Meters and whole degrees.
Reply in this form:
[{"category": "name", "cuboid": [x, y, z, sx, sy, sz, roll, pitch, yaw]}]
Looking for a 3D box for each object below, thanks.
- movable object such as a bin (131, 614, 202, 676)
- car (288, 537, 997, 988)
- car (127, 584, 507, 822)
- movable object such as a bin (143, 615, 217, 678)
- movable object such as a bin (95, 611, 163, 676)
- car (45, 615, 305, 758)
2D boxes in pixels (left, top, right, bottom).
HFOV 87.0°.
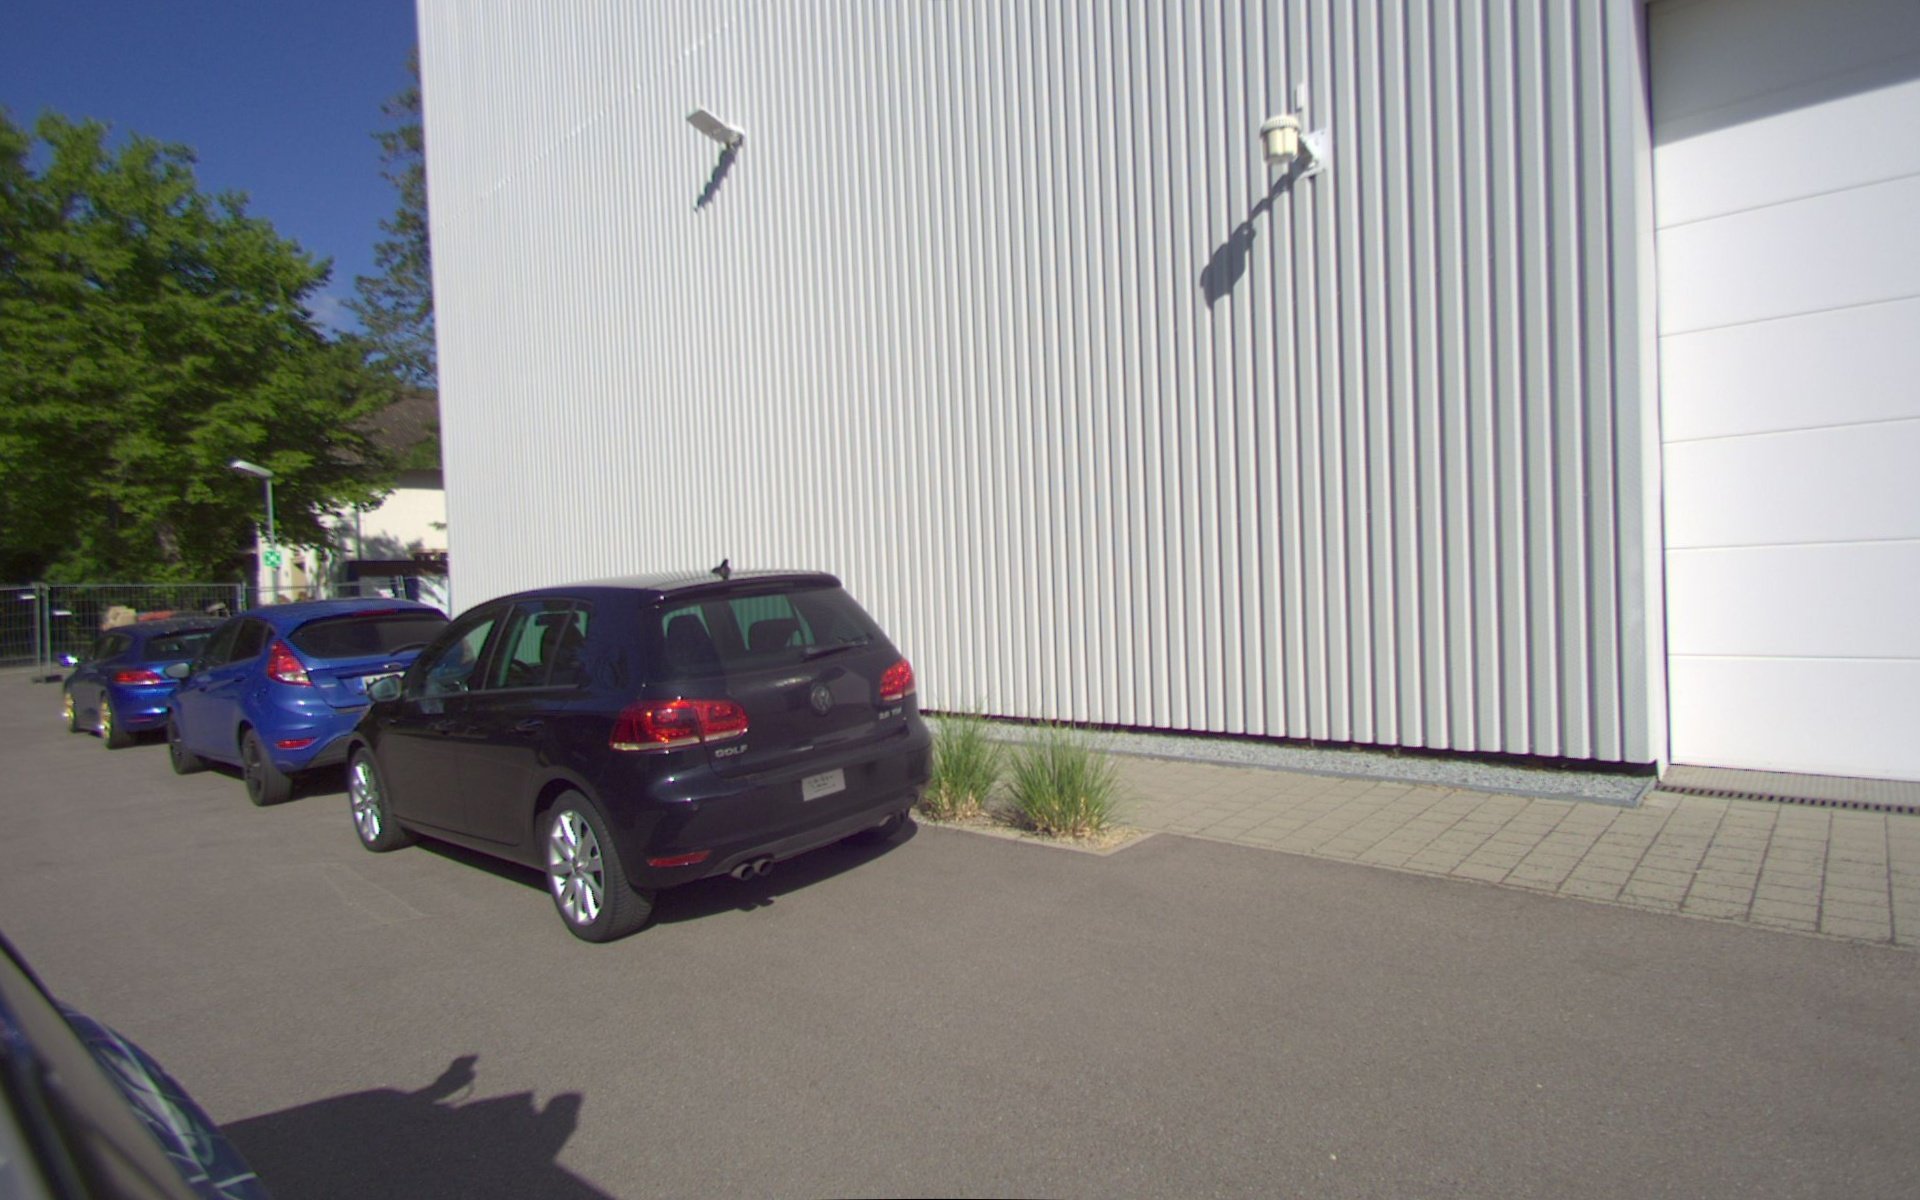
[{"category": "movable object such as a bin", "cuboid": [-20.321, 1.127, 25.916, 1.228, 1.450, 1.080, -1, 3, 37]}, {"category": "car", "cuboid": [-2.026, 0.574, 5.571, 4.293, 1.511, 1.736, -2, 3, 43]}, {"category": "car", "cuboid": [-5.733, 0.746, 8.816, 4.093, 1.511, 1.614, -2, 3, 41]}, {"category": "movable object such as a bin", "cuboid": [-19.308, 1.127, 25.050, 1.228, 1.443, 1.080, -1, 3, 37]}, {"category": "movable object such as a bin", "cuboid": [-22.040, 1.131, 26.840, 1.228, 1.609, 1.080, 0, 2, 37]}, {"category": "car", "cuboid": [-9.762, 0.955, 12.476, 4.052, 1.370, 1.756, -2, 2, 42]}]
